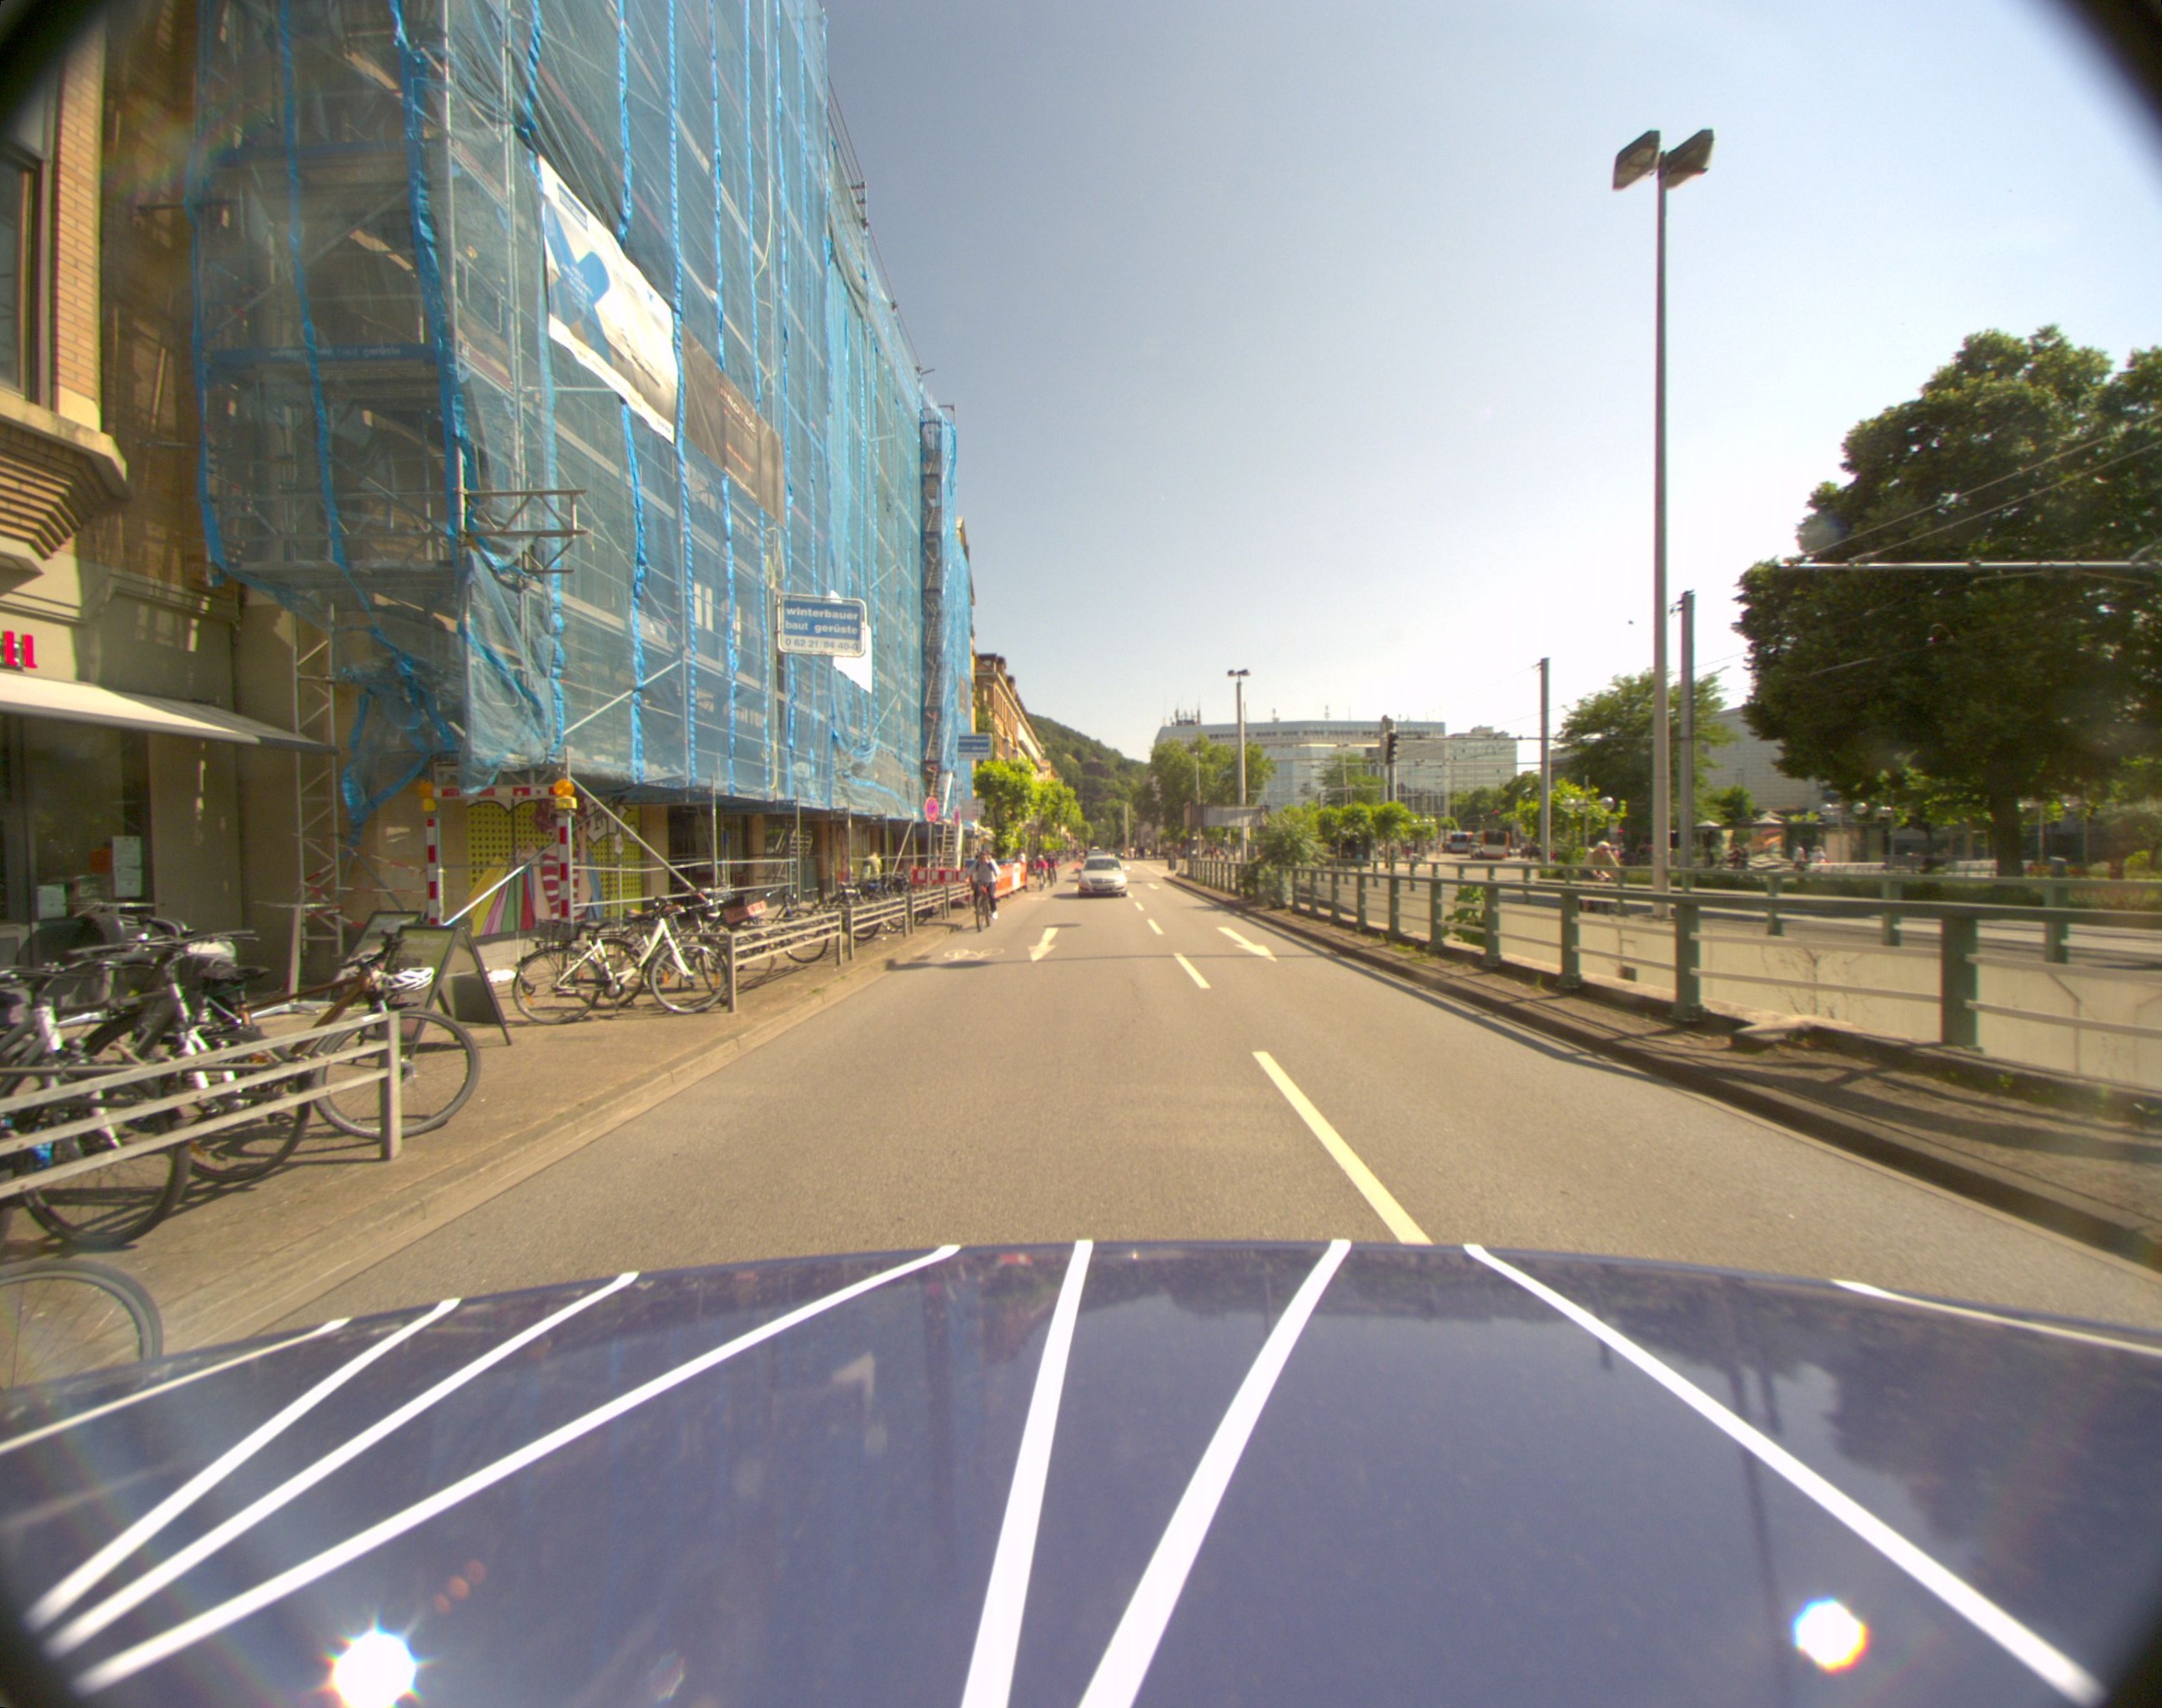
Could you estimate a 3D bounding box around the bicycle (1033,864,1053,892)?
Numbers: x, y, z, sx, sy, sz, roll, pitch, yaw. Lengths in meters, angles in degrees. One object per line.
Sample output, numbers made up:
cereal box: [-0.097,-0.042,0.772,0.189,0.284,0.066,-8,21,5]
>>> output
bicycle: [-1.627,1.022,32.782,0.736,1.086,1.819,-2,0,0]

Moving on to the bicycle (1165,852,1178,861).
bicycle: [12.741,0.371,106.707,1.757,1.140,0.483,-1,1,0]

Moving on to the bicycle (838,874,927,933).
bicycle: [-4.229,1.052,16.234,1.697,1.172,0.608,-2,1,2]

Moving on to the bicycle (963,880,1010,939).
bicycle: [-2.023,1.164,16.502,0.736,1.086,1.897,-3,1,0]

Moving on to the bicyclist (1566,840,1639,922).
bicyclist: [10.735,0.538,15.678,0.819,1.612,0.902,3,0,2]

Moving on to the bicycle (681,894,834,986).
bicycle: [-4.187,1.107,9.904,1.697,1.081,0.608,-2,1,2]

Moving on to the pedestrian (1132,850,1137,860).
pedestrian: [9.044,0.161,128.576,0.639,1.737,0.733,-3,1,0]

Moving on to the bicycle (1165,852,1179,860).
bicycle: [12.569,0.255,104.851,1.757,1.140,0.483,-1,1,0]

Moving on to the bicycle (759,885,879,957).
bicycle: [-4.368,1.107,12.731,1.743,1.103,0.608,-2,1,2]

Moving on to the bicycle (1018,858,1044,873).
bicycle: [-3.458,0.804,52.564,1.757,1.012,0.483,-1,1,0]

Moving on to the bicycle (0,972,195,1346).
bicycle: [-4.411,1.084,2.801,1.697,1.172,0.490,-2,1,2]

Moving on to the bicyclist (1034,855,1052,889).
bicyclist: [-1.650,0.772,32.851,0.690,1.388,0.778,-3,1,0]

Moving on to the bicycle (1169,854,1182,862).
bicycle: [12.710,0.535,102.136,1.757,1.140,0.483,-1,1,0]

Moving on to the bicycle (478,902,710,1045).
bicycle: [-4.424,1.071,6.973,1.697,1.172,0.608,-2,1,2]

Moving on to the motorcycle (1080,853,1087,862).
motorcycle: [0.346,0.442,97.257,0.736,1.086,1.898,-3,1,2]

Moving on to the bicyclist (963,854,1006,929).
bicyclist: [-2.094,0.804,16.567,0.750,1.568,0.778,-3,1,1]

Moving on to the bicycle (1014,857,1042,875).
bicycle: [-3.496,0.779,50.021,1.757,1.174,0.579,-1,1,0]

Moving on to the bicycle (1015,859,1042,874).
bicycle: [-3.552,0.847,51.338,1.757,1.012,0.587,0,1,0]

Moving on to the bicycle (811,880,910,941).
bicycle: [-4.264,1.089,14.742,1.697,1.091,0.608,-2,1,2]

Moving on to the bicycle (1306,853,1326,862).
bicycle: [24.291,0.351,78.604,1.871,0.851,0.546,-3,1,-11]

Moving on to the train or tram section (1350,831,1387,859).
train or tram section: [42.206,-1.343,111.228,2.615,3.805,9.536,-2,1,35]

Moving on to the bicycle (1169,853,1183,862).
bicycle: [12.752,0.428,101.640,1.757,1.140,0.483,-1,1,0]

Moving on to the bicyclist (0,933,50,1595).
bicyclist: [-2.519,0.762,0.988,0.690,1.454,1.143,-3,1,0]

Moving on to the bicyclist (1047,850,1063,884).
bicyclist: [-1.256,0.623,36.762,0.690,1.568,0.778,-3,1,-1]

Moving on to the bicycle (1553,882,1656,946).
bicycle: [10.712,1.199,15.636,0.819,1.114,1.874,2,1,2]

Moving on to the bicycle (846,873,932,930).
bicycle: [-4.255,1.043,16.919,1.697,1.172,0.608,-2,1,2]

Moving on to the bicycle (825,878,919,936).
bicycle: [-4.239,1.073,15.463,1.697,1.091,0.608,-2,1,2]

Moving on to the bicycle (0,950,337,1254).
bicycle: [-4.421,1.072,3.388,1.697,1.172,0.497,-2,1,2]

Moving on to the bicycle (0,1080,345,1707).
bicycle: [-2.512,1.216,1.104,0.736,1.086,2.130,-3,1,0]

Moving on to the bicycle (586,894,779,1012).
bicycle: [-4.379,1.078,8.413,1.775,1.172,0.608,-2,1,2]

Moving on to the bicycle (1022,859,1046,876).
bicycle: [-2.978,0.841,47.940,0.659,1.012,1.753,-2,1,-37]

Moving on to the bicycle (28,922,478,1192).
bicycle: [-4.313,1.032,4.035,1.697,1.234,0.608,-2,1,2]

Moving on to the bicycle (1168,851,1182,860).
bicycle: [12.755,0.226,103.010,1.865,1.140,0.483,-1,1,0]

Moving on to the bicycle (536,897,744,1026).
bicycle: [-4.415,1.062,7.674,1.697,1.172,0.608,-2,1,2]

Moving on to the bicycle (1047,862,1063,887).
bicycle: [-1.259,0.966,36.813,0.667,1.086,1.897,-3,1,-1]

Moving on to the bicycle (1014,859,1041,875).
bicycle: [-3.563,0.885,50.717,1.757,1.012,0.557,-1,1,0]

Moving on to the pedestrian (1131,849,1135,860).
pedestrian: [8.520,0.075,124.307,0.575,1.704,0.652,-3,1,0]

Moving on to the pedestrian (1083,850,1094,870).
pedestrian: [0.758,0.567,74.422,0.897,1.996,0.678,-1,1,-42]

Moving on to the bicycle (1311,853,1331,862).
bicycle: [24.535,0.352,77.642,1.871,0.851,0.546,-3,1,-11]
